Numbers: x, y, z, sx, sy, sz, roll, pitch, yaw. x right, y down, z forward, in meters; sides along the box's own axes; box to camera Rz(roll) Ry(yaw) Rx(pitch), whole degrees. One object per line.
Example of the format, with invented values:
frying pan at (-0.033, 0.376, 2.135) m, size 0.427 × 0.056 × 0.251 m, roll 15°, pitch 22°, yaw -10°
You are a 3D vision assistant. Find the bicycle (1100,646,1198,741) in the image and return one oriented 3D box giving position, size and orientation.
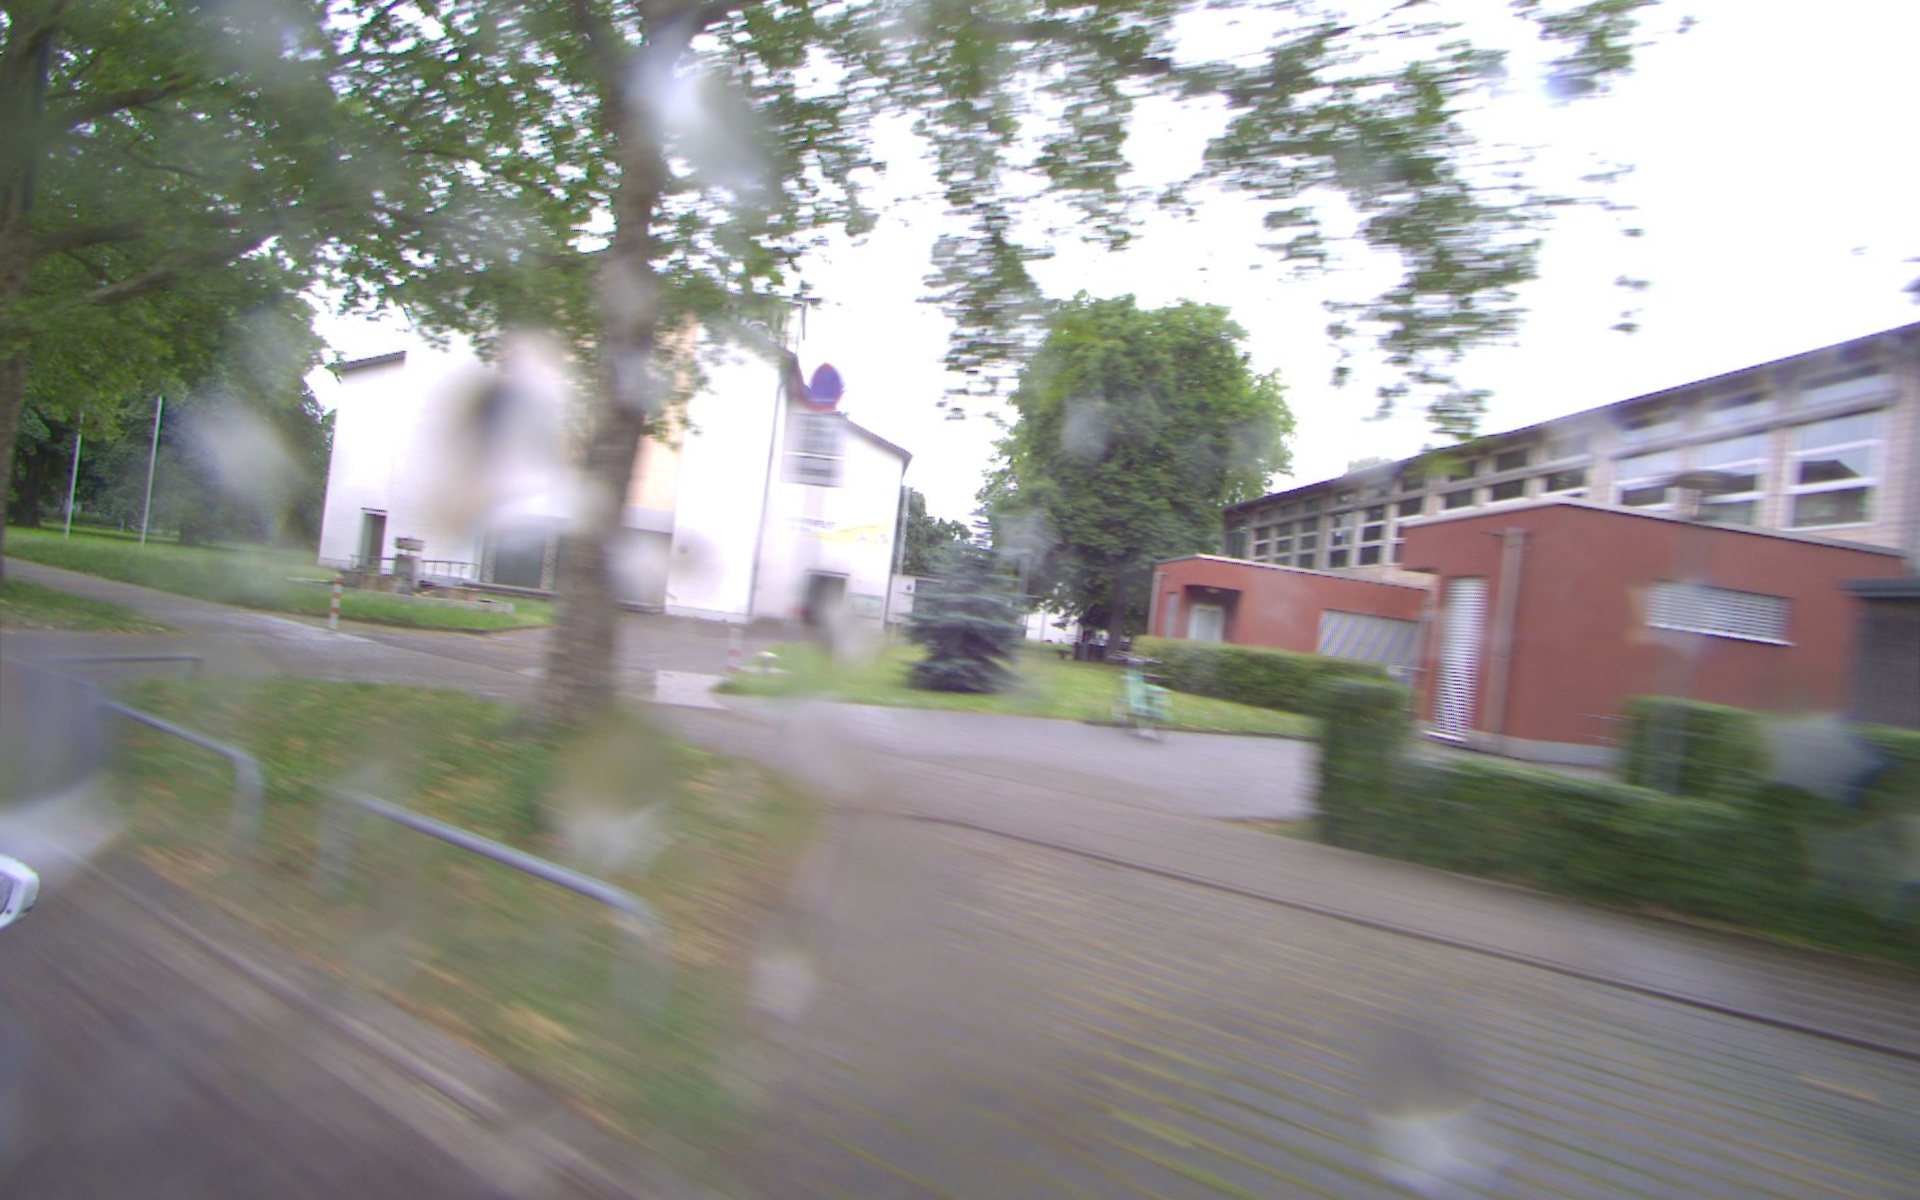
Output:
bicycle at (2.724, 1.326, 14.718) m, size 0.457 × 1.104 × 2.038 m, roll 6°, pitch 1°, yaw -15°
